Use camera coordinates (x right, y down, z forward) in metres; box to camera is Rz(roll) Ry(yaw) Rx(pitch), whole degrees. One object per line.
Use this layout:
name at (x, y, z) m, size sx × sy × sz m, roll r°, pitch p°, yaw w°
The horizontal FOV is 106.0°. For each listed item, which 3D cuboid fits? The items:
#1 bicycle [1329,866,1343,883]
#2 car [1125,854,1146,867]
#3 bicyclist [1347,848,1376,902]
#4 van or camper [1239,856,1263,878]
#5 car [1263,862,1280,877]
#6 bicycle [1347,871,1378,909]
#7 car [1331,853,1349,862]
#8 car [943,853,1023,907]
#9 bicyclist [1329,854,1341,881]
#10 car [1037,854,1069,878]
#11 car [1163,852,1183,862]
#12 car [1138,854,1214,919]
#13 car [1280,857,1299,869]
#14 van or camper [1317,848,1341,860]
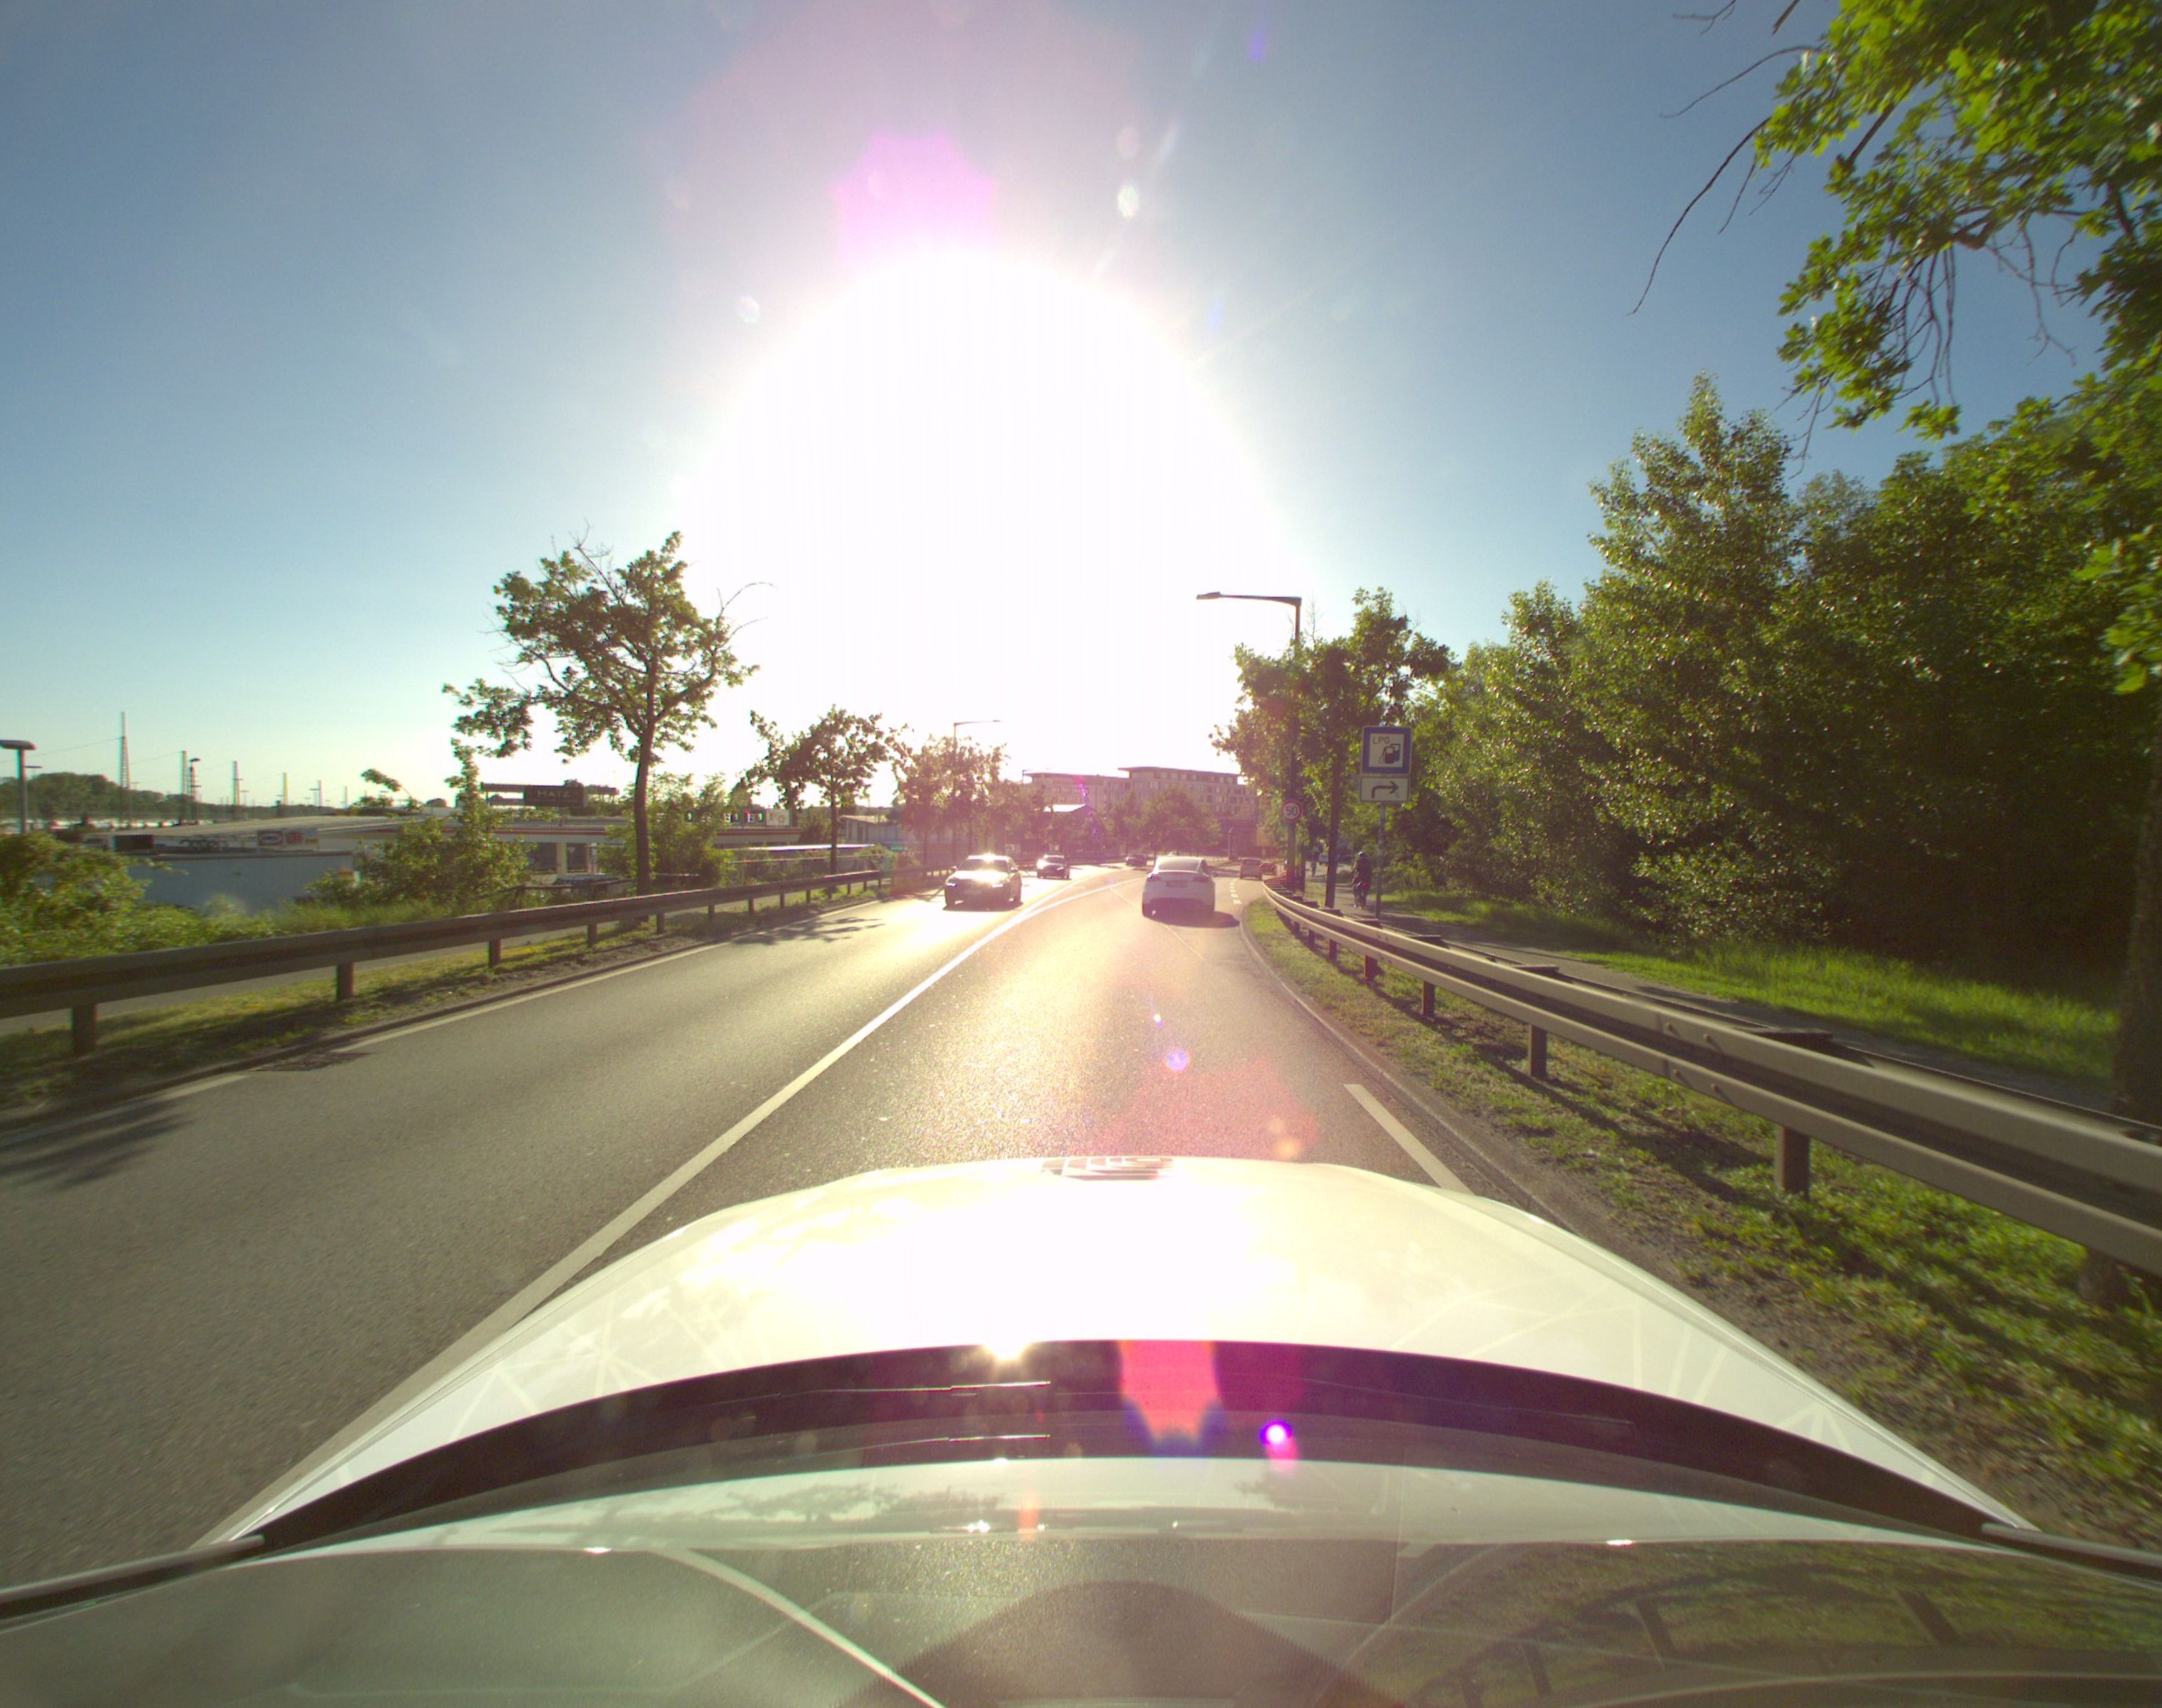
bicycle at (17.224, 1.372, 54.995) m, size 0.689 × 1.095 × 2.129 m, roll -1°, pitch 0°, yaw 23°
car at (6.620, 0.816, 98.009) m, size 1.750 × 1.489 × 4.292 m, roll 2°, pitch 0°, yaw 14°
bicyclist at (8.384, 0.613, 24.375) m, size 0.702 × 1.578 × 1.008 m, roll -1°, pitch 0°, yaw 13°
van or camper at (15.177, 1.145, 72.572) m, size 1.945 × 1.884 × 4.897 m, roll 0°, pitch 0°, yaw 13°
car at (21.871, 1.775, 93.493) m, size 1.592 × 1.434 × 3.695 m, roll 2°, pitch 3°, yaw 17°
bicycle at (8.382, 1.048, 24.316) m, size 0.696 × 1.074 × 1.928 m, roll -1°, pitch -1°, yaw 14°
car at (46.980, 0.651, 147.842) m, size 1.692 × 1.522 × 3.765 m, roll 3°, pitch 2°, yaw 42°
car at (-2.936, 0.738, 25.240) m, size 1.802 × 1.496 × 4.371 m, roll -1°, pitch 0°, yaw 2°
bicyclist at (17.119, 0.913, 54.828) m, size 0.669 × 1.776 × 0.953 m, roll -1°, pitch 0°, yaw 23°
car at (-1.757, 0.717, 51.799) m, size 1.657 × 1.445 × 3.853 m, roll 1°, pitch 0°, yaw 3°
car at (13.844, 0.452, 122.254) m, size 1.715 × 1.385 × 4.520 m, roll 2°, pitch 1°, yaw 22°
car at (2.777, 0.825, 22.931) m, size 1.903 × 1.641 × 4.421 m, roll -1°, pitch 0°, yaw 9°
car at (28.597, 1.247, 111.552) m, size 1.748 × 1.475 × 4.313 m, roll 2°, pitch 2°, yaw 24°
van or camper at (39.023, -0.050, 128.136) m, size 1.808 × 1.790 × 4.573 m, roll 3°, pitch 3°, yaw 40°
